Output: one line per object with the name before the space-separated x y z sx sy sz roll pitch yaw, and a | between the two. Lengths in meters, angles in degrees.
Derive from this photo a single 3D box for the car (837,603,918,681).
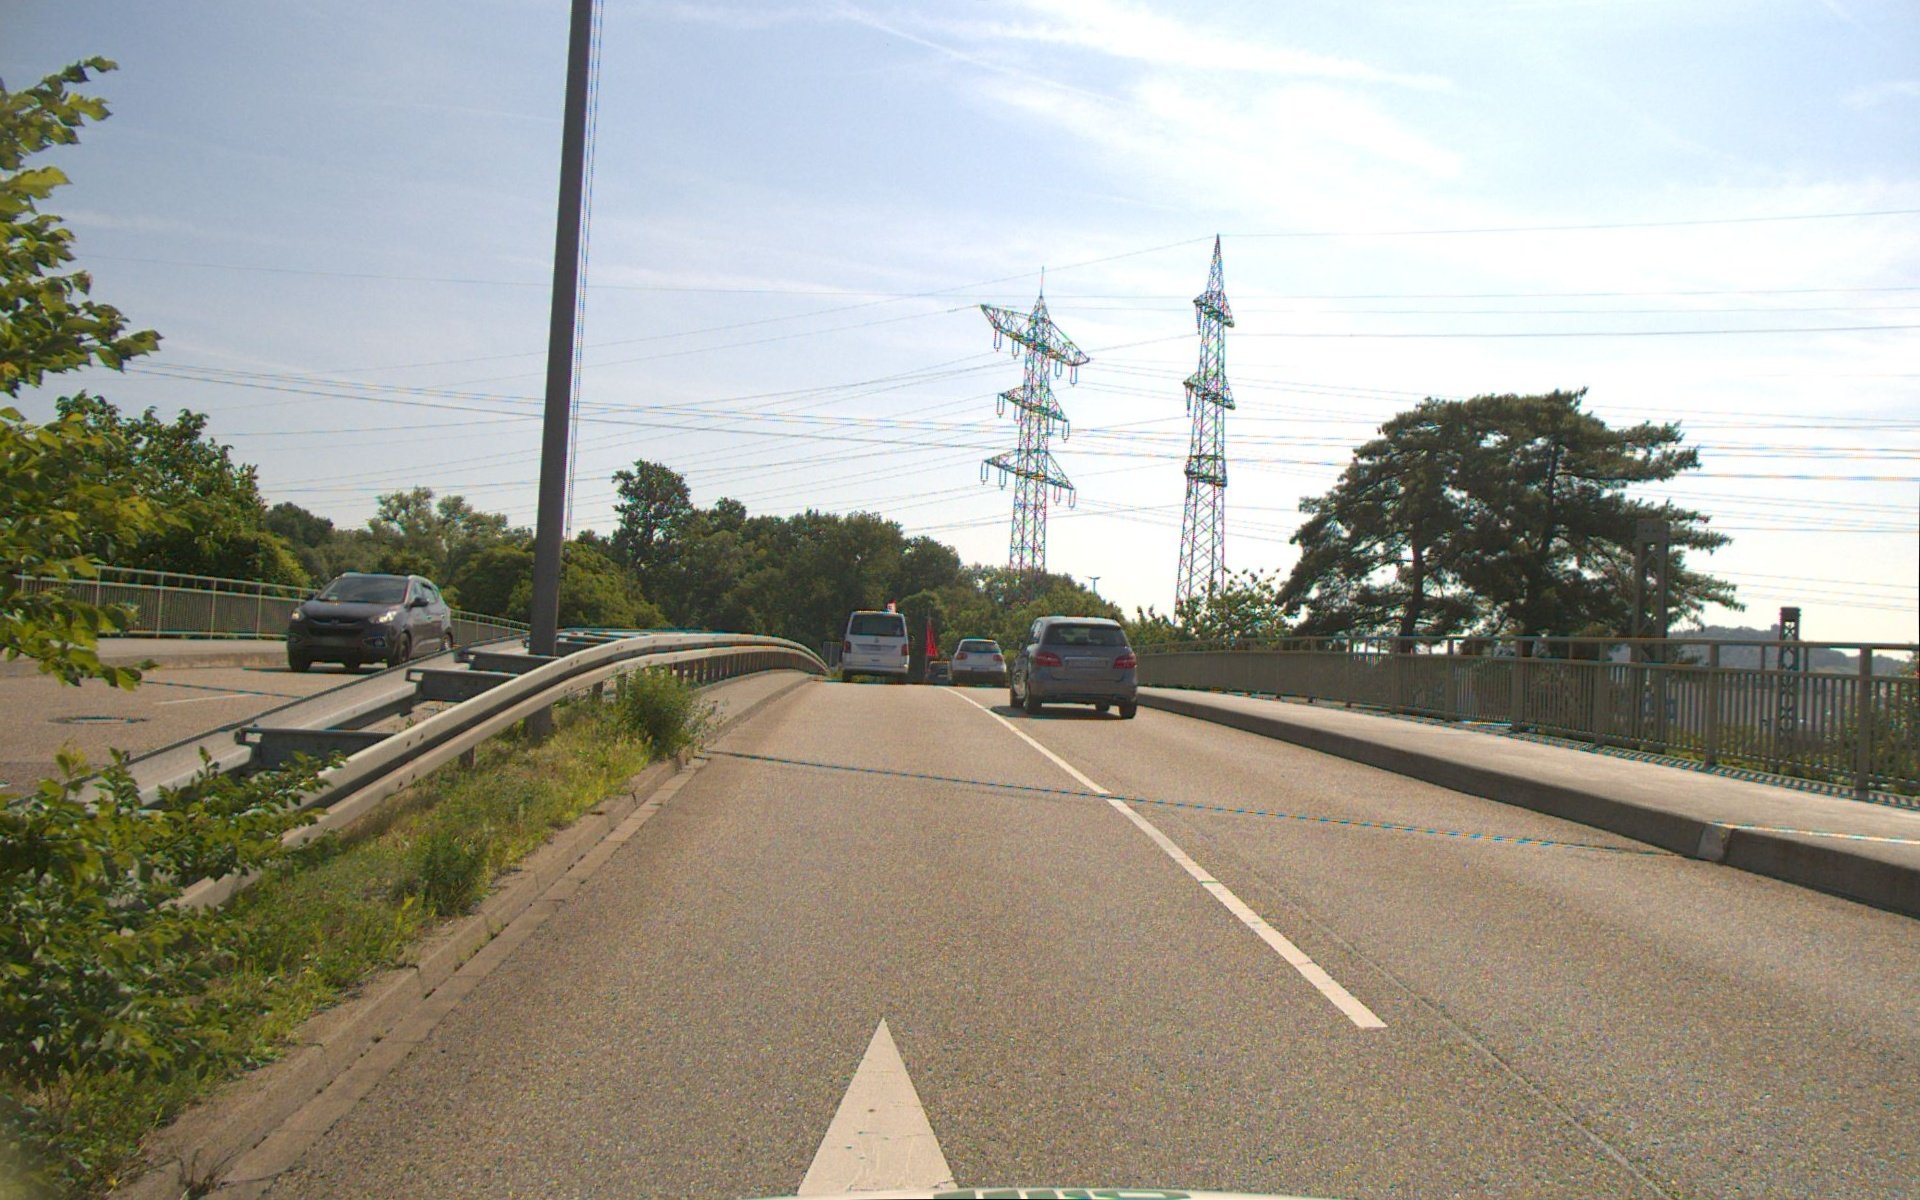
car | -2.293 1.168 47.166 1.997 2.049 4.000 3 -1 0

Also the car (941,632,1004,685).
car | 0.365 1.879 52.691 1.819 1.556 4.141 2 -2 -2

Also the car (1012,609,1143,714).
car | 1.863 0.967 27.372 1.818 1.556 4.143 2 -1 0

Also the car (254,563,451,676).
car | -9.939 0.344 27.426 1.844 1.664 4.221 2 -1 -3

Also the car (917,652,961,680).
car | -1.047 3.329 84.082 1.736 1.355 3.743 1 -1 6
